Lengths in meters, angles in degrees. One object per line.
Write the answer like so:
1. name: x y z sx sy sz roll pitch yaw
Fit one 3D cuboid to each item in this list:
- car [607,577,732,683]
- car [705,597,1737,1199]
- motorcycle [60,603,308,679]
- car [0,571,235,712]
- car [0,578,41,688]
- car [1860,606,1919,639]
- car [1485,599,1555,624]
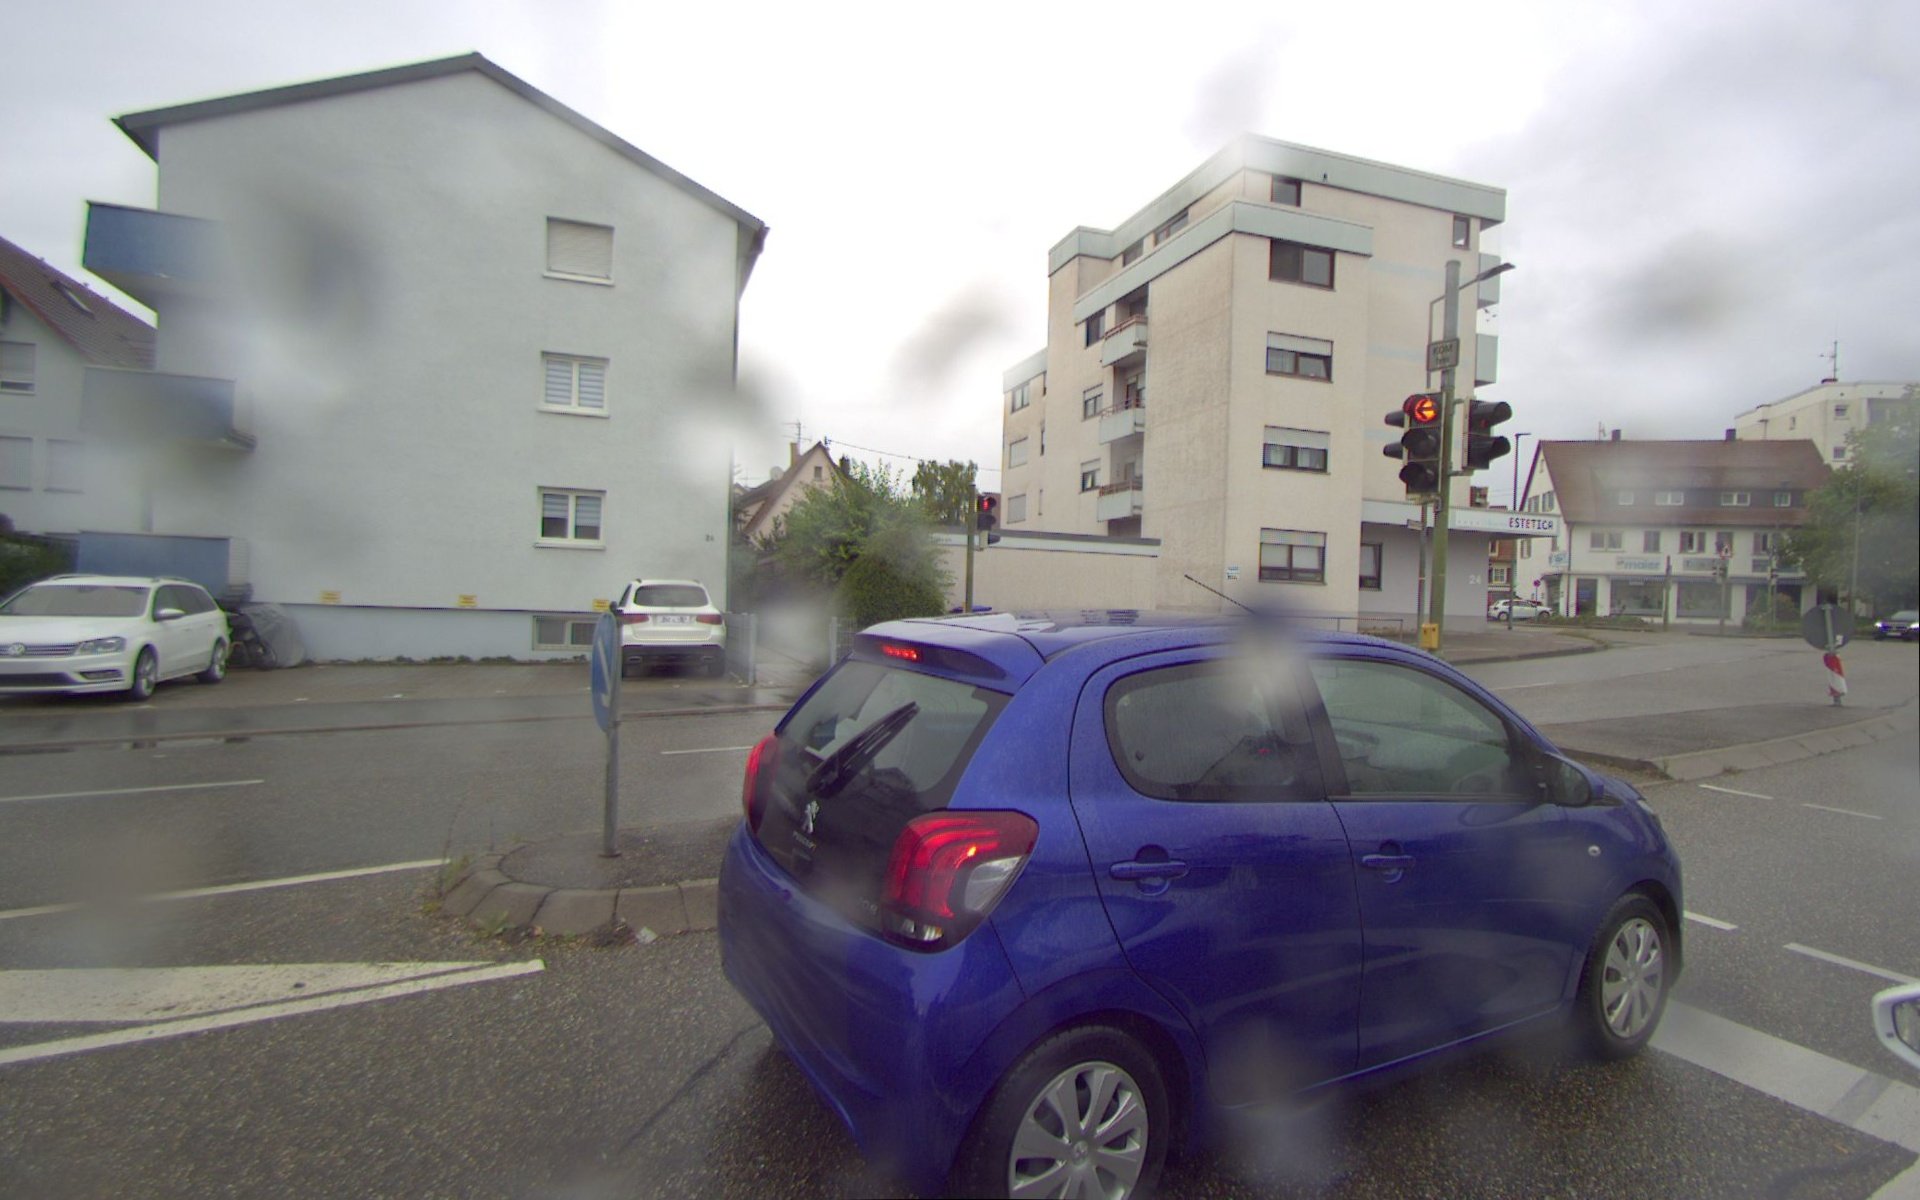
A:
1. car: -5.354 0.470 18.168 1.909 1.658 4.445 1 0 -19
2. car: 0.948 0.743 3.430 3.231 1.429 1.571 1 1 -30
3. motorcycle: -12.567 0.621 16.405 0.864 1.115 3.113 2 1 43
4. car: -10.810 0.436 12.635 1.878 1.493 4.208 1 0 -24
5. car: -13.023 0.420 11.943 1.878 1.430 3.977 1 0 -24
6. car: 42.720 1.009 45.528 3.786 1.439 1.770 1 1 -30
7. car: 38.532 0.778 69.234 3.887 1.593 1.873 1 1 17
